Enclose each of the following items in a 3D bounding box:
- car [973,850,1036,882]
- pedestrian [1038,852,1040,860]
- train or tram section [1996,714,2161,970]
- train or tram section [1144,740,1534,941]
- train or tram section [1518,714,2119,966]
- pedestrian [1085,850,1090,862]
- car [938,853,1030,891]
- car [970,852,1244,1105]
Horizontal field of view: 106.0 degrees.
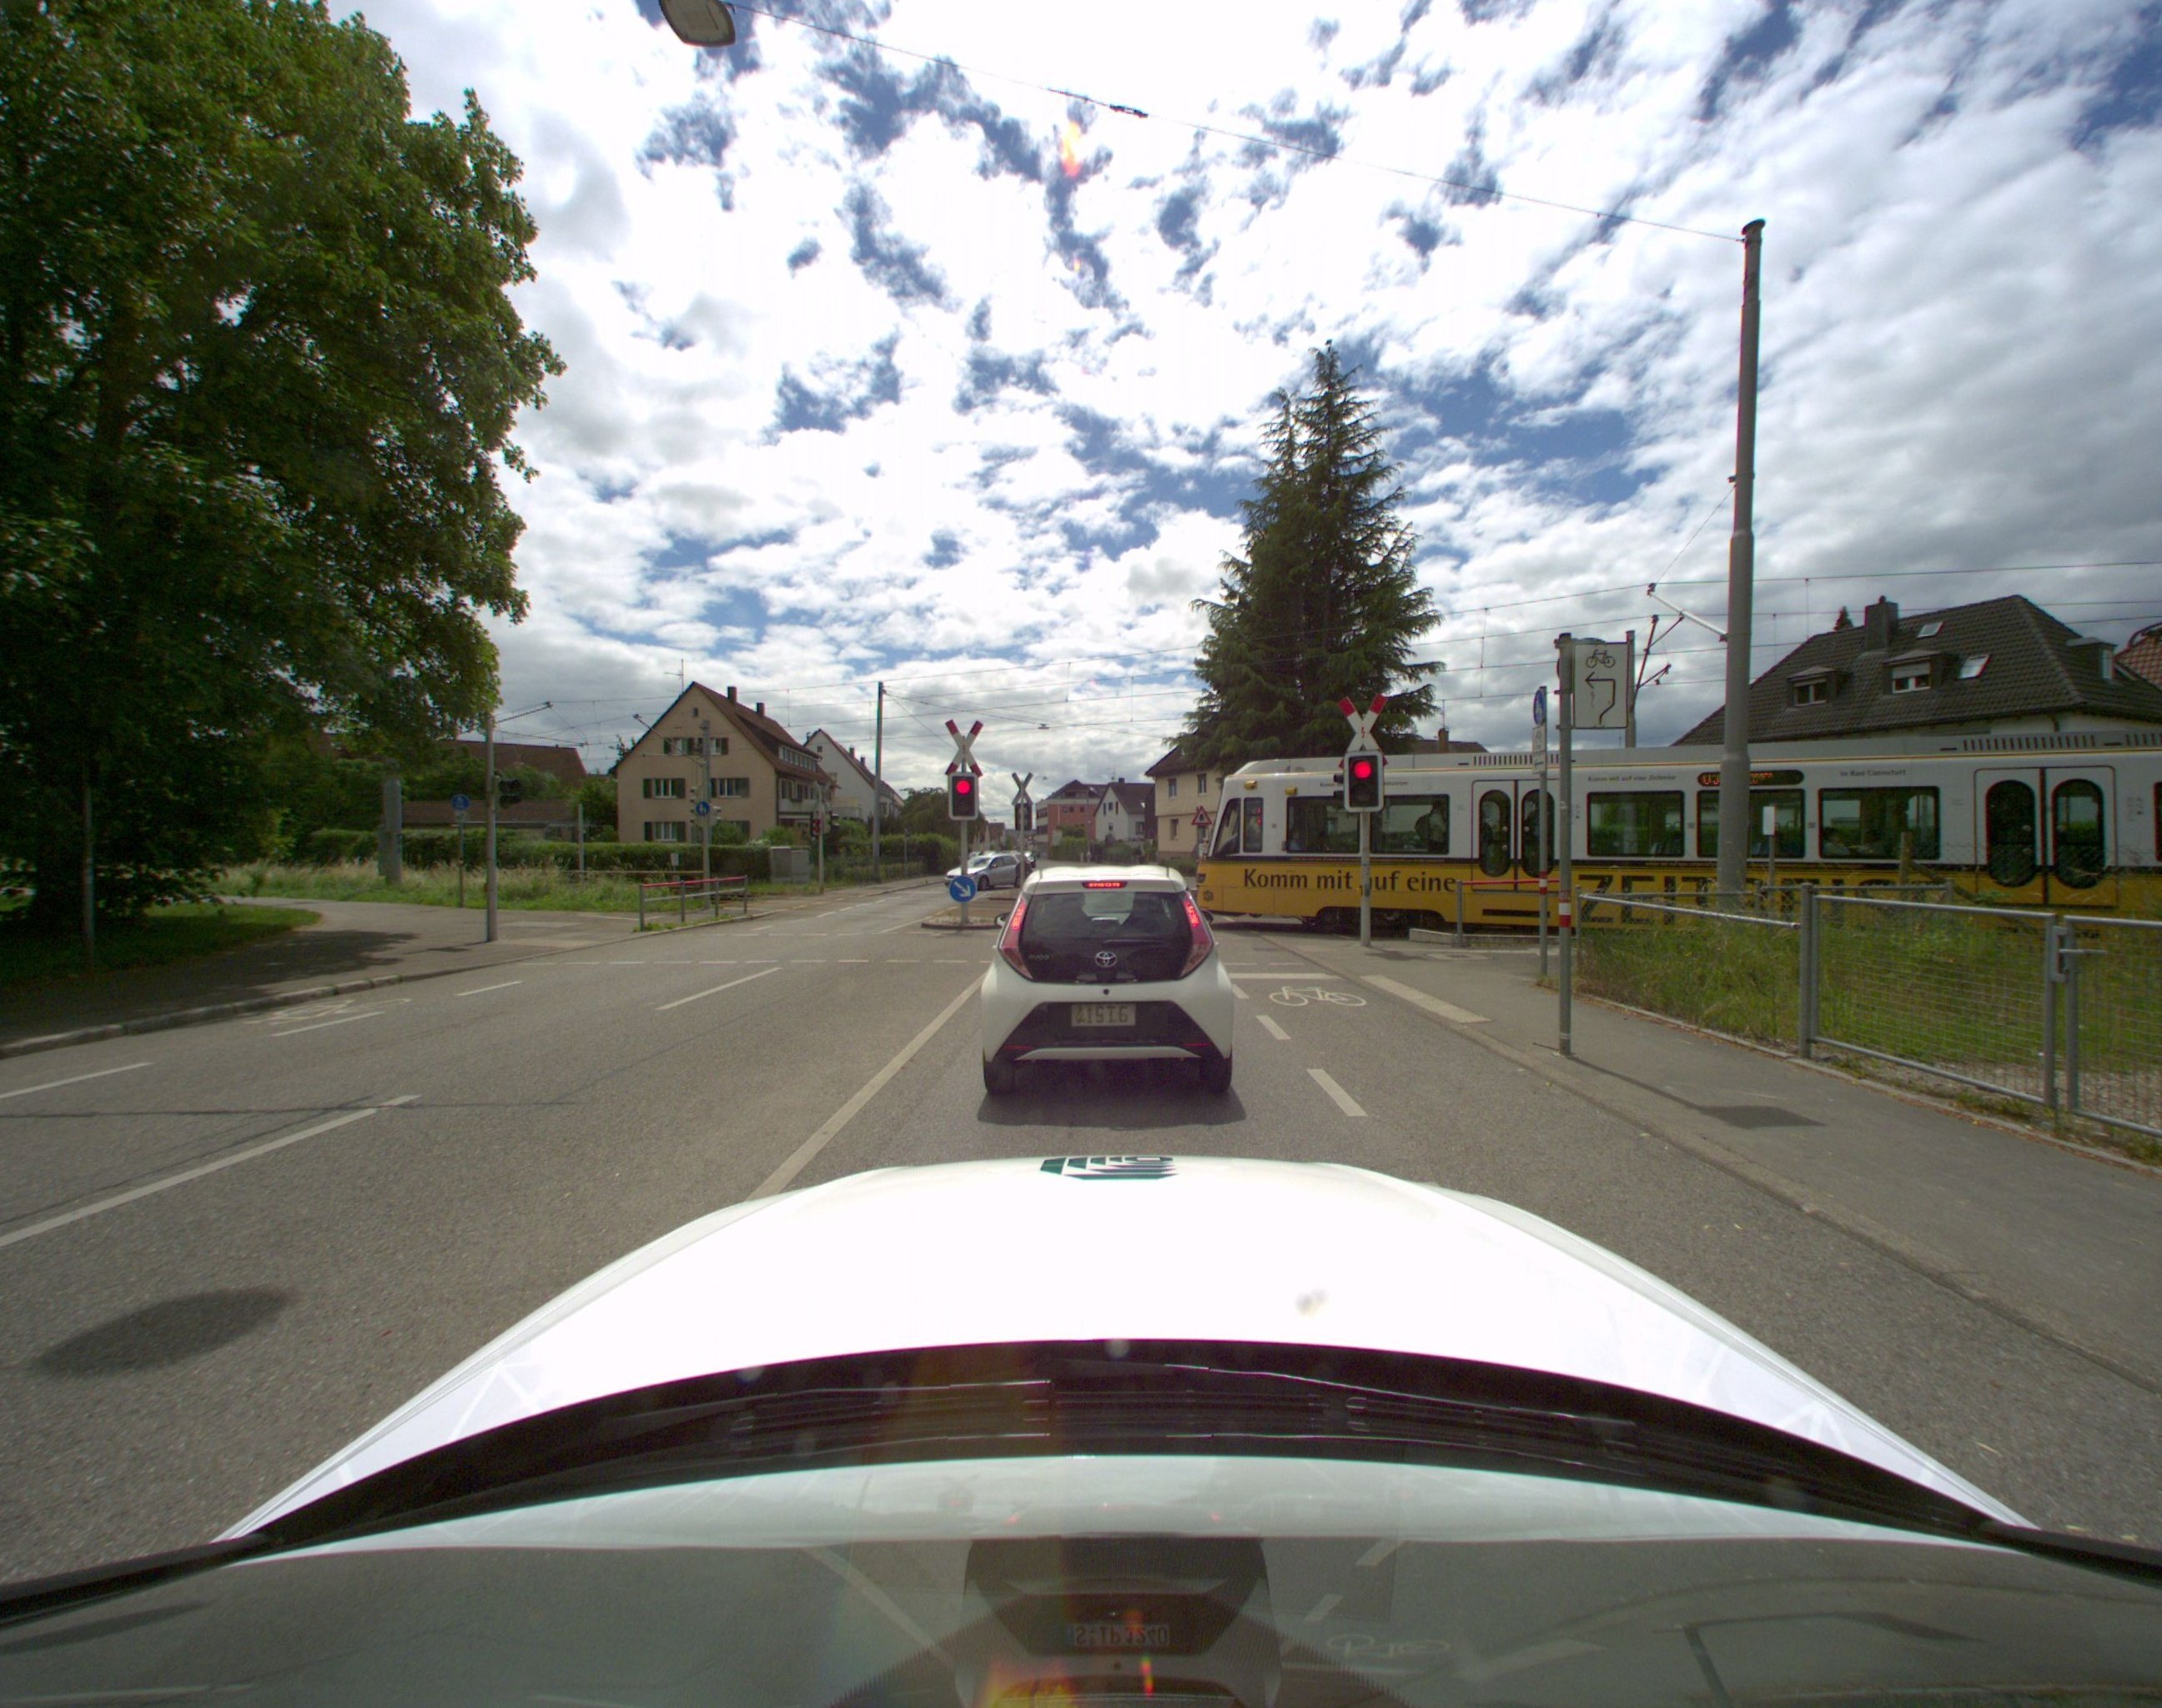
[{"bbox_3d":[-3.807,0.591,40.830,1.560,1.510,2.804,0,-1,44],"label":"car"},{"bbox_3d":[-7.577,0.309,146.434,0.413,1.437,0.436,0,0,-9],"label":"pedestrian"},{"bbox_3d":[19.367,-0.132,11.791,7.622,3.721,2.886,1,0,24],"label":"train or tram section"},{"bbox_3d":[5.513,-0.285,17.984,7.622,3.721,2.886,1,0,24],"label":"train or tram section"},{"bbox_3d":[12.435,-0.239,14.898,7.622,3.721,2.886,1,0,24],"label":"train or tram section"},{"bbox_3d":[0.800,0.287,98.845,0.410,1.437,0.440,0,0,20],"label":"pedestrian"},{"bbox_3d":[-4.062,0.736,34.716,1.672,1.458,4.095,-1,0,33],"label":"car"},{"bbox_3d":[0.216,0.757,6.851,1.615,1.486,4.001,-1,-1,2],"label":"car"}]
